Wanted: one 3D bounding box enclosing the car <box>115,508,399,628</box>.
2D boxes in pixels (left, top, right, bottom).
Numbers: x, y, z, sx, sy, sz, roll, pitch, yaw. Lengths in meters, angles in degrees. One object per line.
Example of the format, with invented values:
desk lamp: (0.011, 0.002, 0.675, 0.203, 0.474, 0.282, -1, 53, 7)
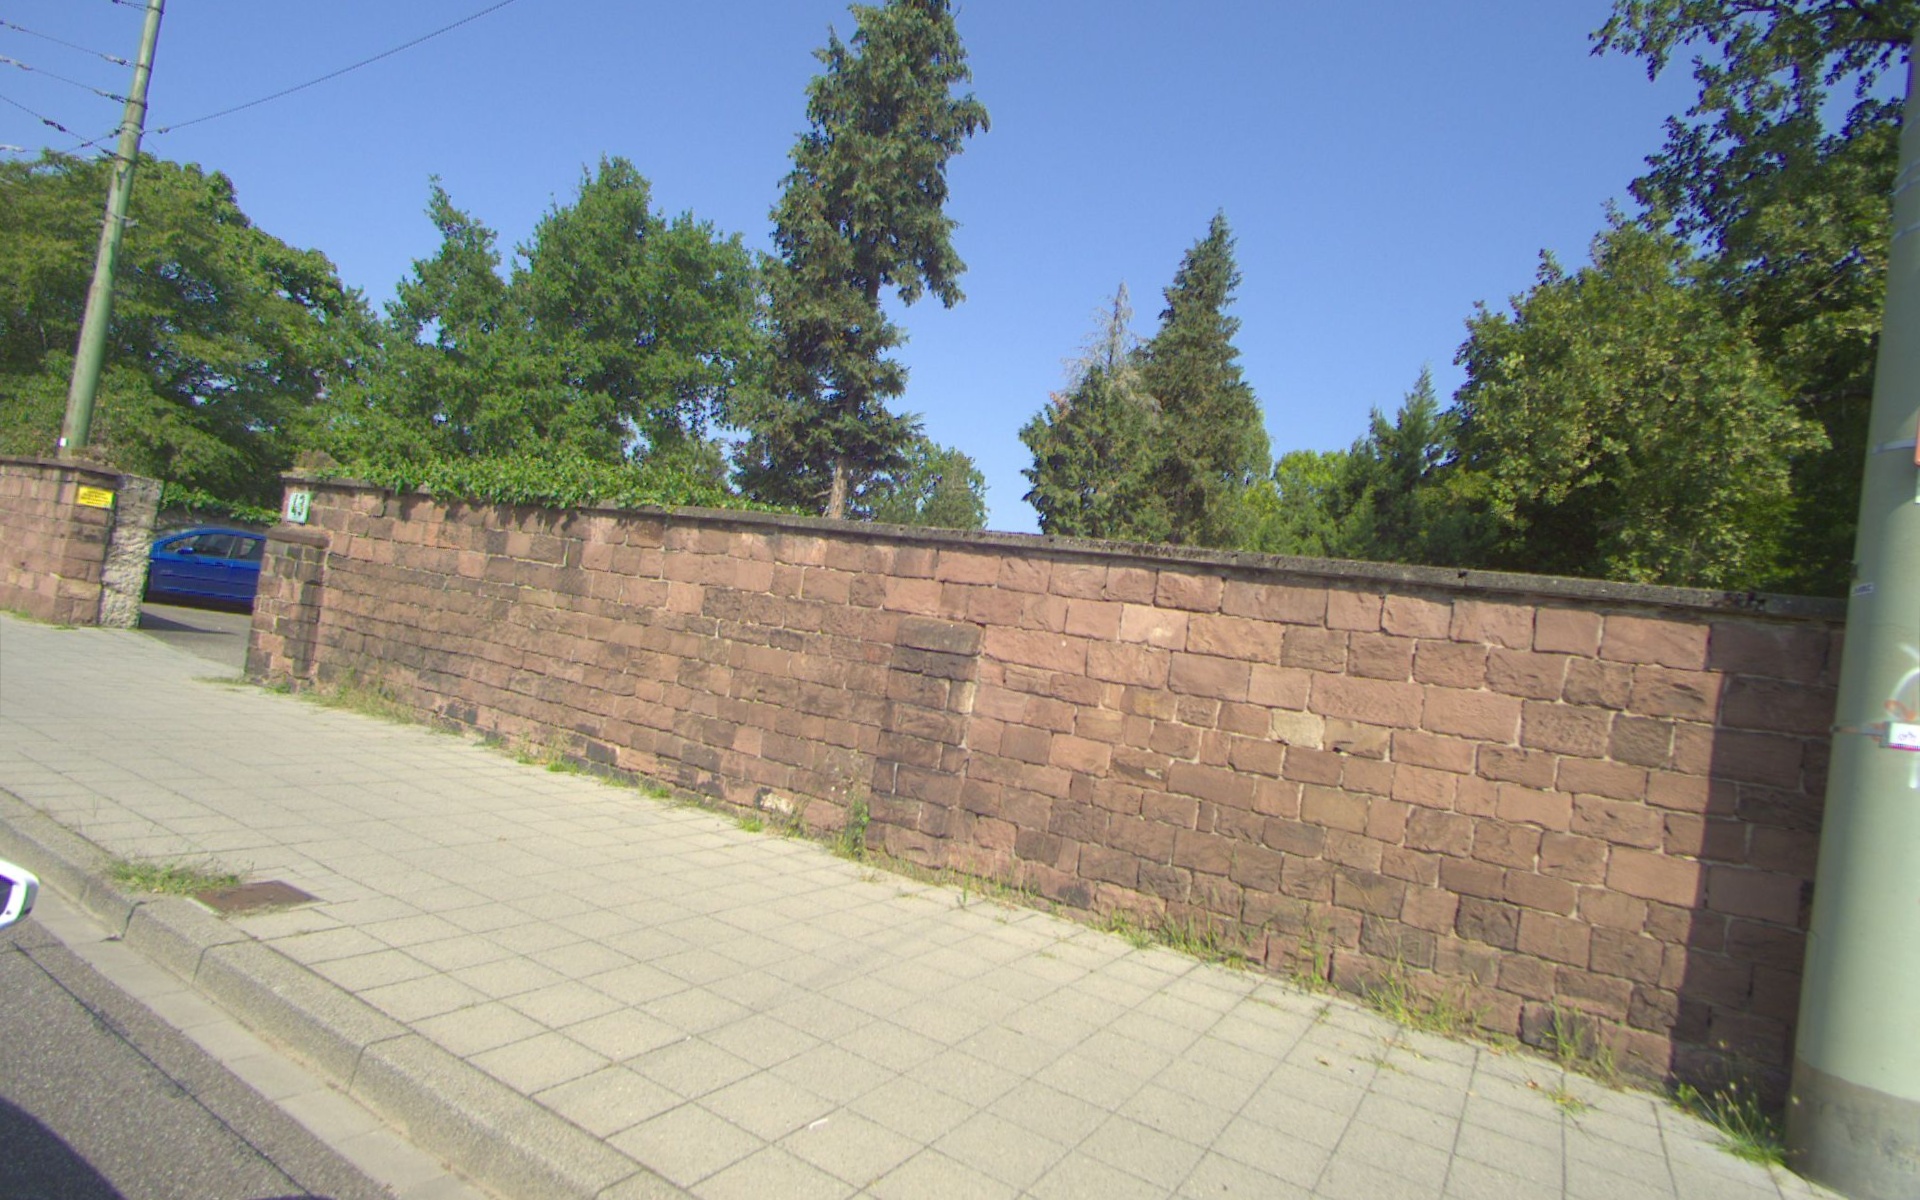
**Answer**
car: (-13.372, -0.544, 19.390, 1.747, 1.479, 3.981, 8, -4, 30)
